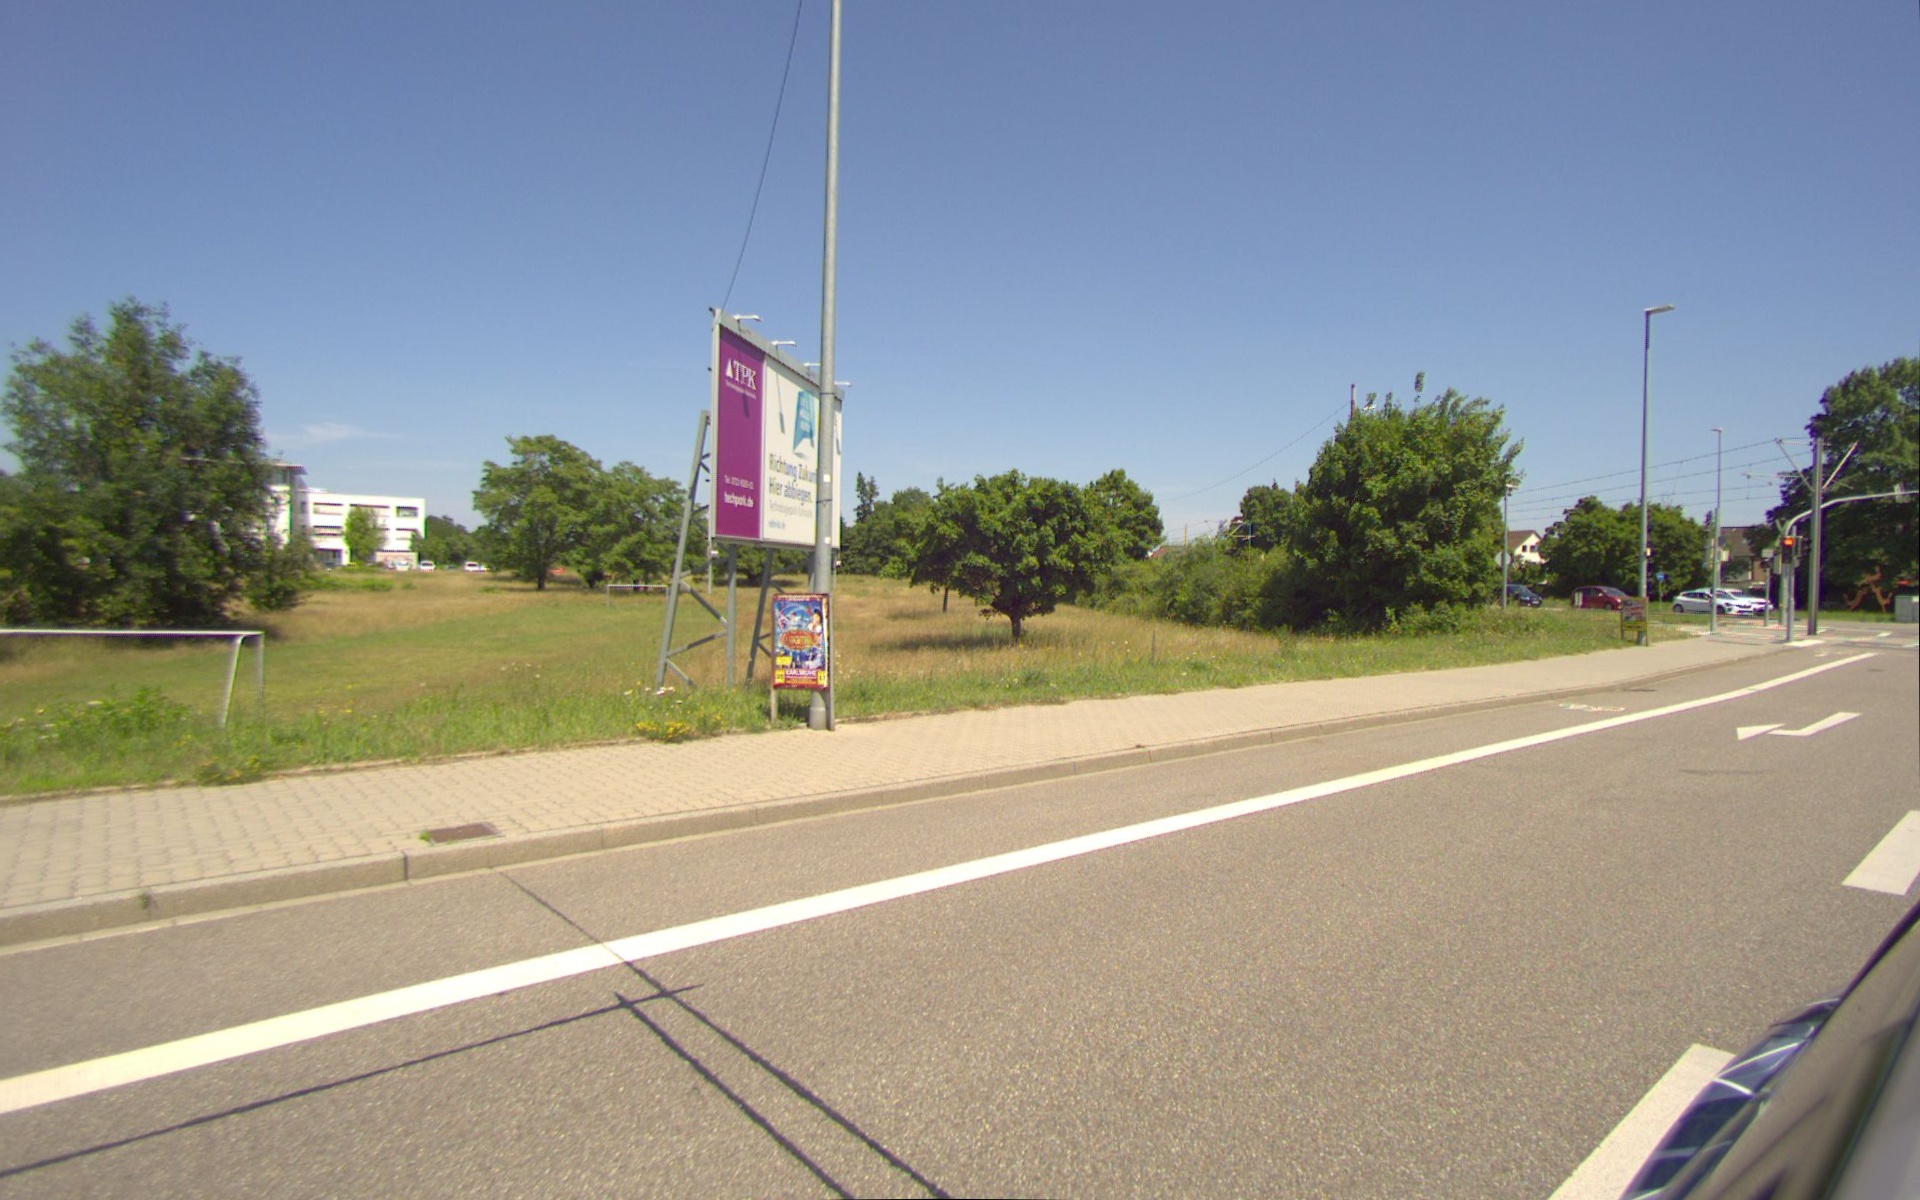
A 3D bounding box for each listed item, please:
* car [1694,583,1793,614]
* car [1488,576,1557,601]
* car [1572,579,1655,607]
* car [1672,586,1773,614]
[{"bbox_3d":[45.556,-0.115,58.981,1.836,1.595,4.420,2,1,-10],"label":"car"},{"bbox_3d":[39.685,-0.836,71.474,1.836,1.595,4.420,2,1,-10],"label":"car"},{"bbox_3d":[41.157,-0.483,63.836,1.836,1.595,4.420,2,1,-10],"label":"car"},{"bbox_3d":[42.636,-0.042,56.696,1.836,1.406,4.420,2,1,-10],"label":"car"}]
